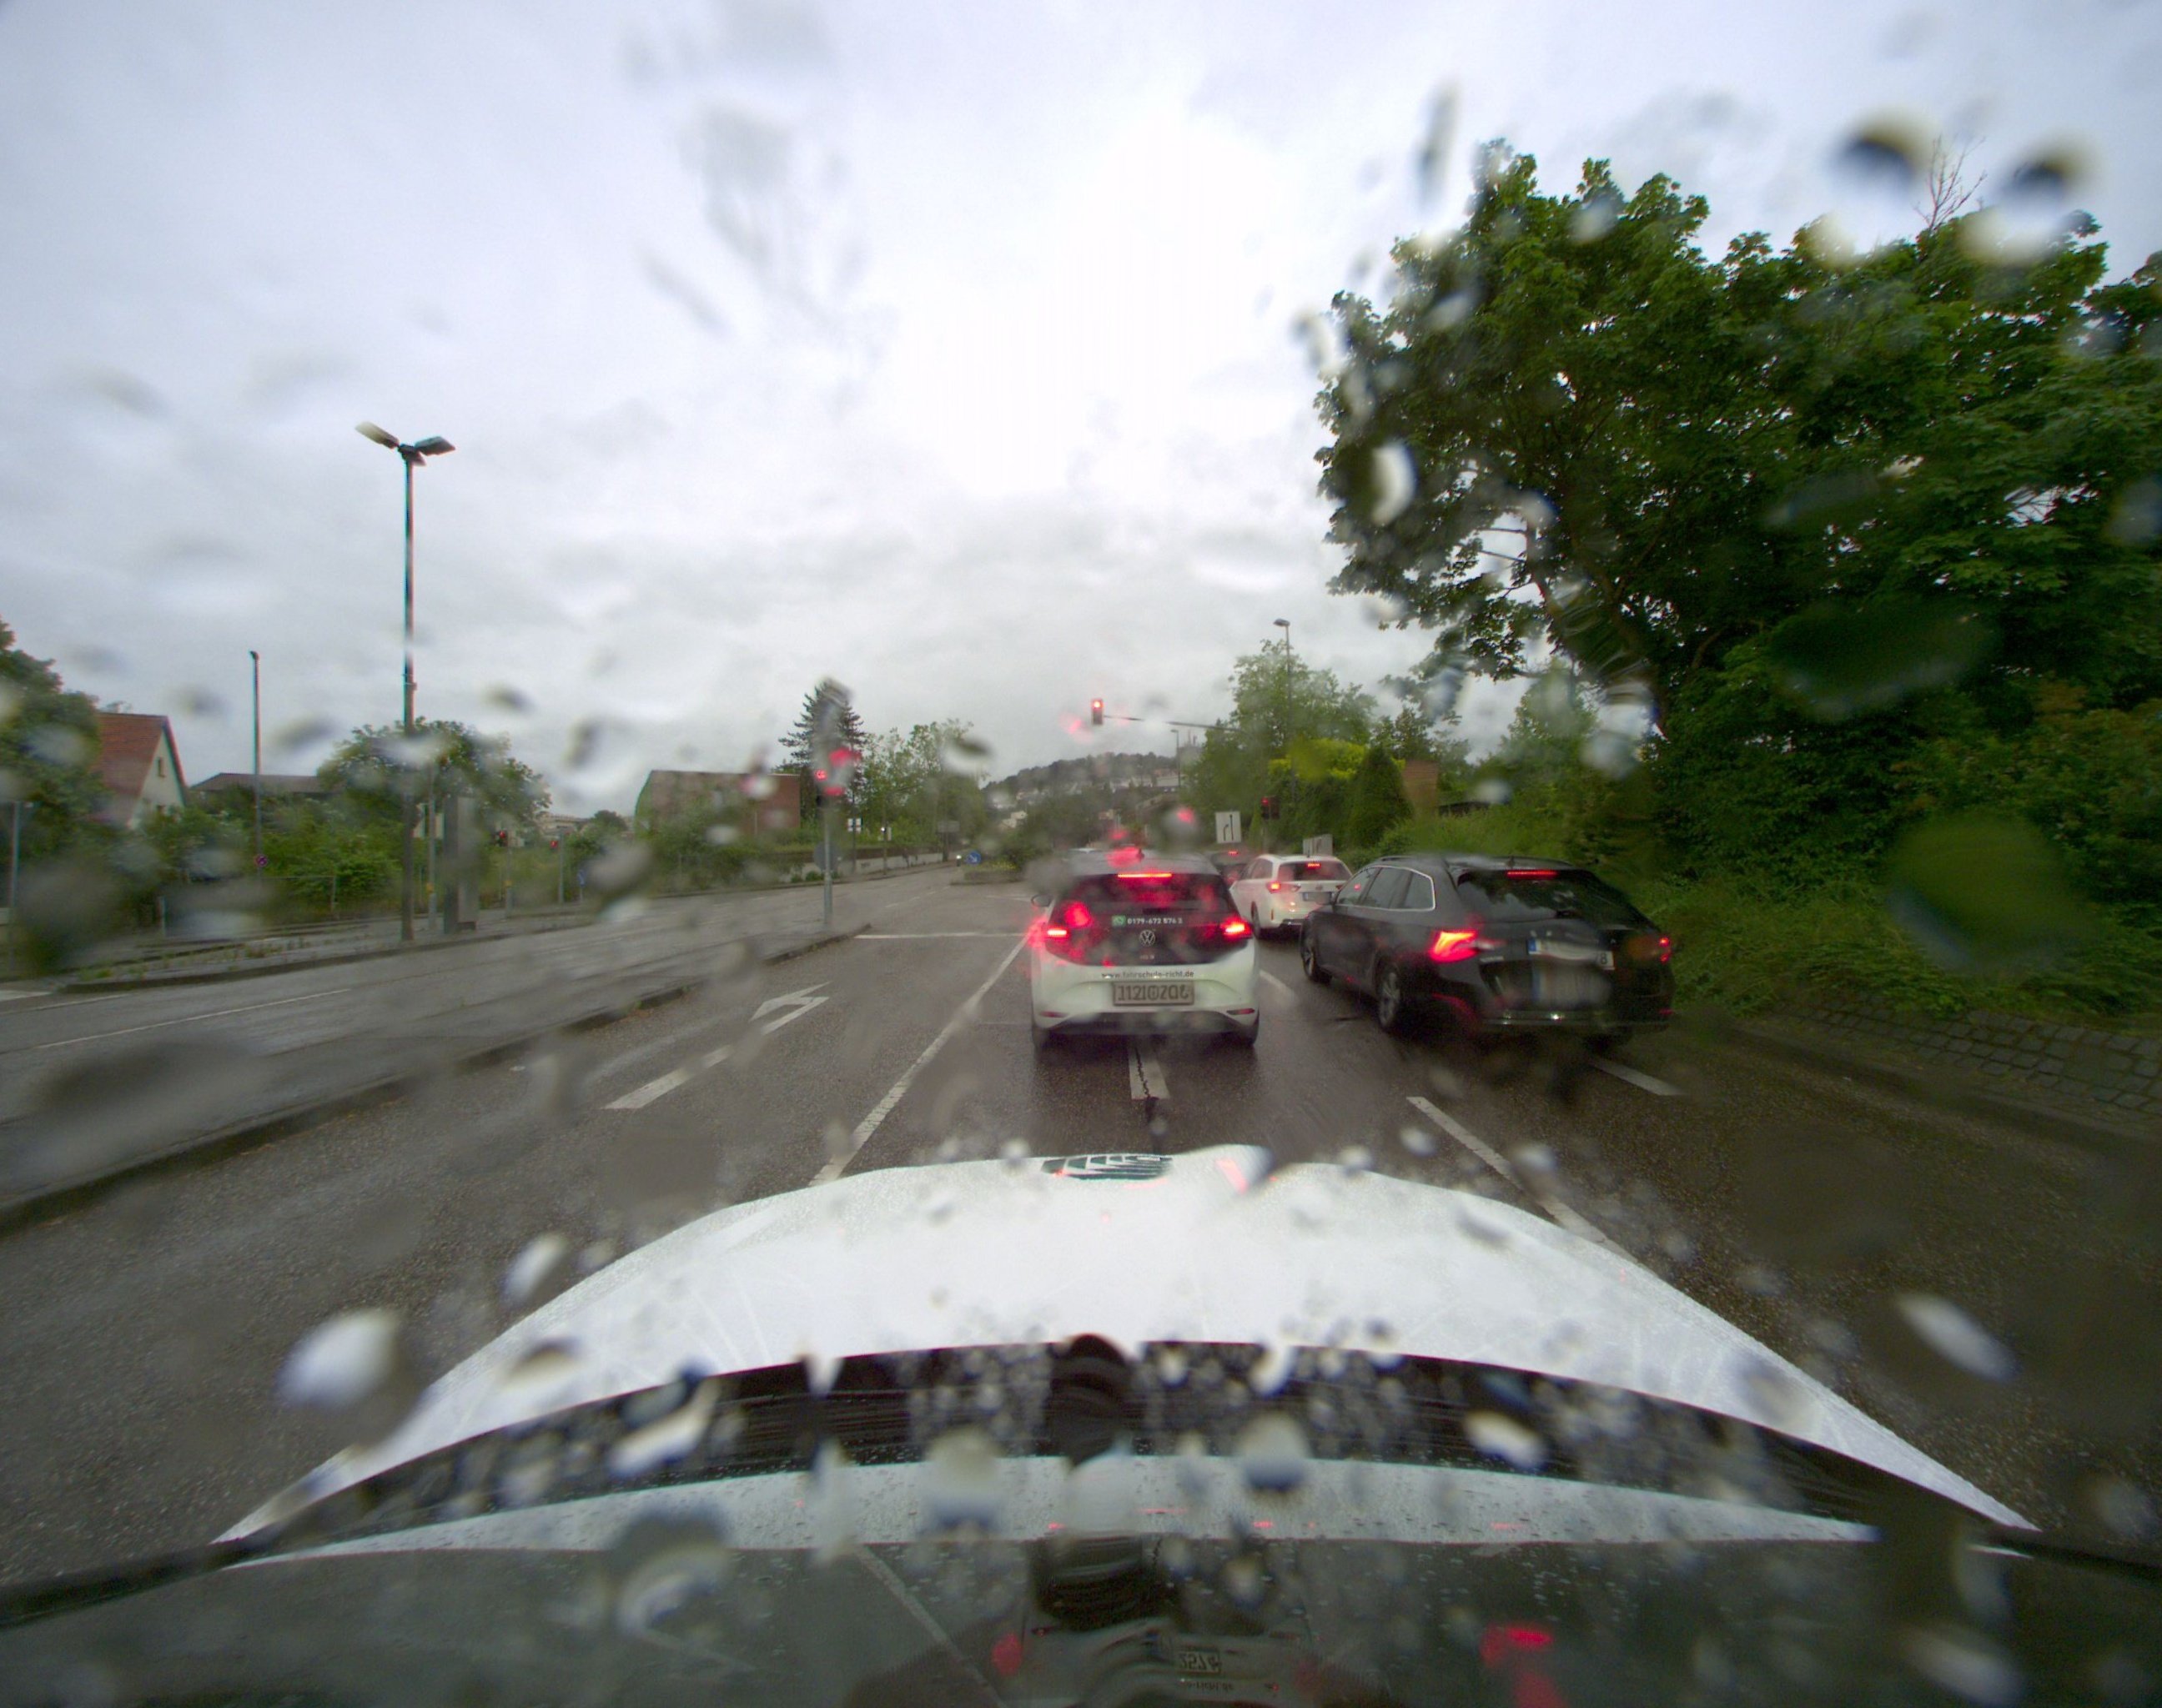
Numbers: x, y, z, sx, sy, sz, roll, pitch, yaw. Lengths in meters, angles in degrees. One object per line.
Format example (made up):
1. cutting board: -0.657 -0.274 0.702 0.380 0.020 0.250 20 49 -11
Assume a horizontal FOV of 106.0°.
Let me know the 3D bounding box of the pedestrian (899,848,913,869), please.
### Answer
1. pedestrian: -13.292 0.343 61.916 0.757 1.568 0.825 -4 0 1

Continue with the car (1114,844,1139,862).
1. car: 3.748 -0.094 67.404 1.755 1.418 3.748 -3 0 0

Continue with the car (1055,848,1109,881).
1. car: 0.085 0.471 39.214 1.569 1.467 4.016 -3 -1 15

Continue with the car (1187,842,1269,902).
1. car: 4.125 0.485 23.421 1.769 1.581 4.002 0 0 2

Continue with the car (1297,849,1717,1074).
1. car: 3.368 0.689 7.531 1.830 1.466 4.353 0 0 3

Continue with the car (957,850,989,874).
1. car: -9.233 0.664 69.744 1.986 1.804 4.002 -4 0 2

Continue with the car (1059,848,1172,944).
1. car: 0.602 0.671 15.314 1.831 1.555 4.176 0 0 1

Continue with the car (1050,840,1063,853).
1. car: -4.154 -1.258 140.562 1.986 2.014 4.002 -1 -1 2

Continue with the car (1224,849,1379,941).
1. car: 3.869 0.639 15.000 1.831 1.466 4.118 0 0 1

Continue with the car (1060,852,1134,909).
1. car: 0.432 0.651 22.122 1.831 1.400 3.832 0 0 1

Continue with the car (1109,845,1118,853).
1. car: 6.886 -1.121 173.410 1.769 1.581 4.002 -3 0 2

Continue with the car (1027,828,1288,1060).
1. car: 0.589 0.619 8.031 1.831 1.629 4.617 0 0 1
